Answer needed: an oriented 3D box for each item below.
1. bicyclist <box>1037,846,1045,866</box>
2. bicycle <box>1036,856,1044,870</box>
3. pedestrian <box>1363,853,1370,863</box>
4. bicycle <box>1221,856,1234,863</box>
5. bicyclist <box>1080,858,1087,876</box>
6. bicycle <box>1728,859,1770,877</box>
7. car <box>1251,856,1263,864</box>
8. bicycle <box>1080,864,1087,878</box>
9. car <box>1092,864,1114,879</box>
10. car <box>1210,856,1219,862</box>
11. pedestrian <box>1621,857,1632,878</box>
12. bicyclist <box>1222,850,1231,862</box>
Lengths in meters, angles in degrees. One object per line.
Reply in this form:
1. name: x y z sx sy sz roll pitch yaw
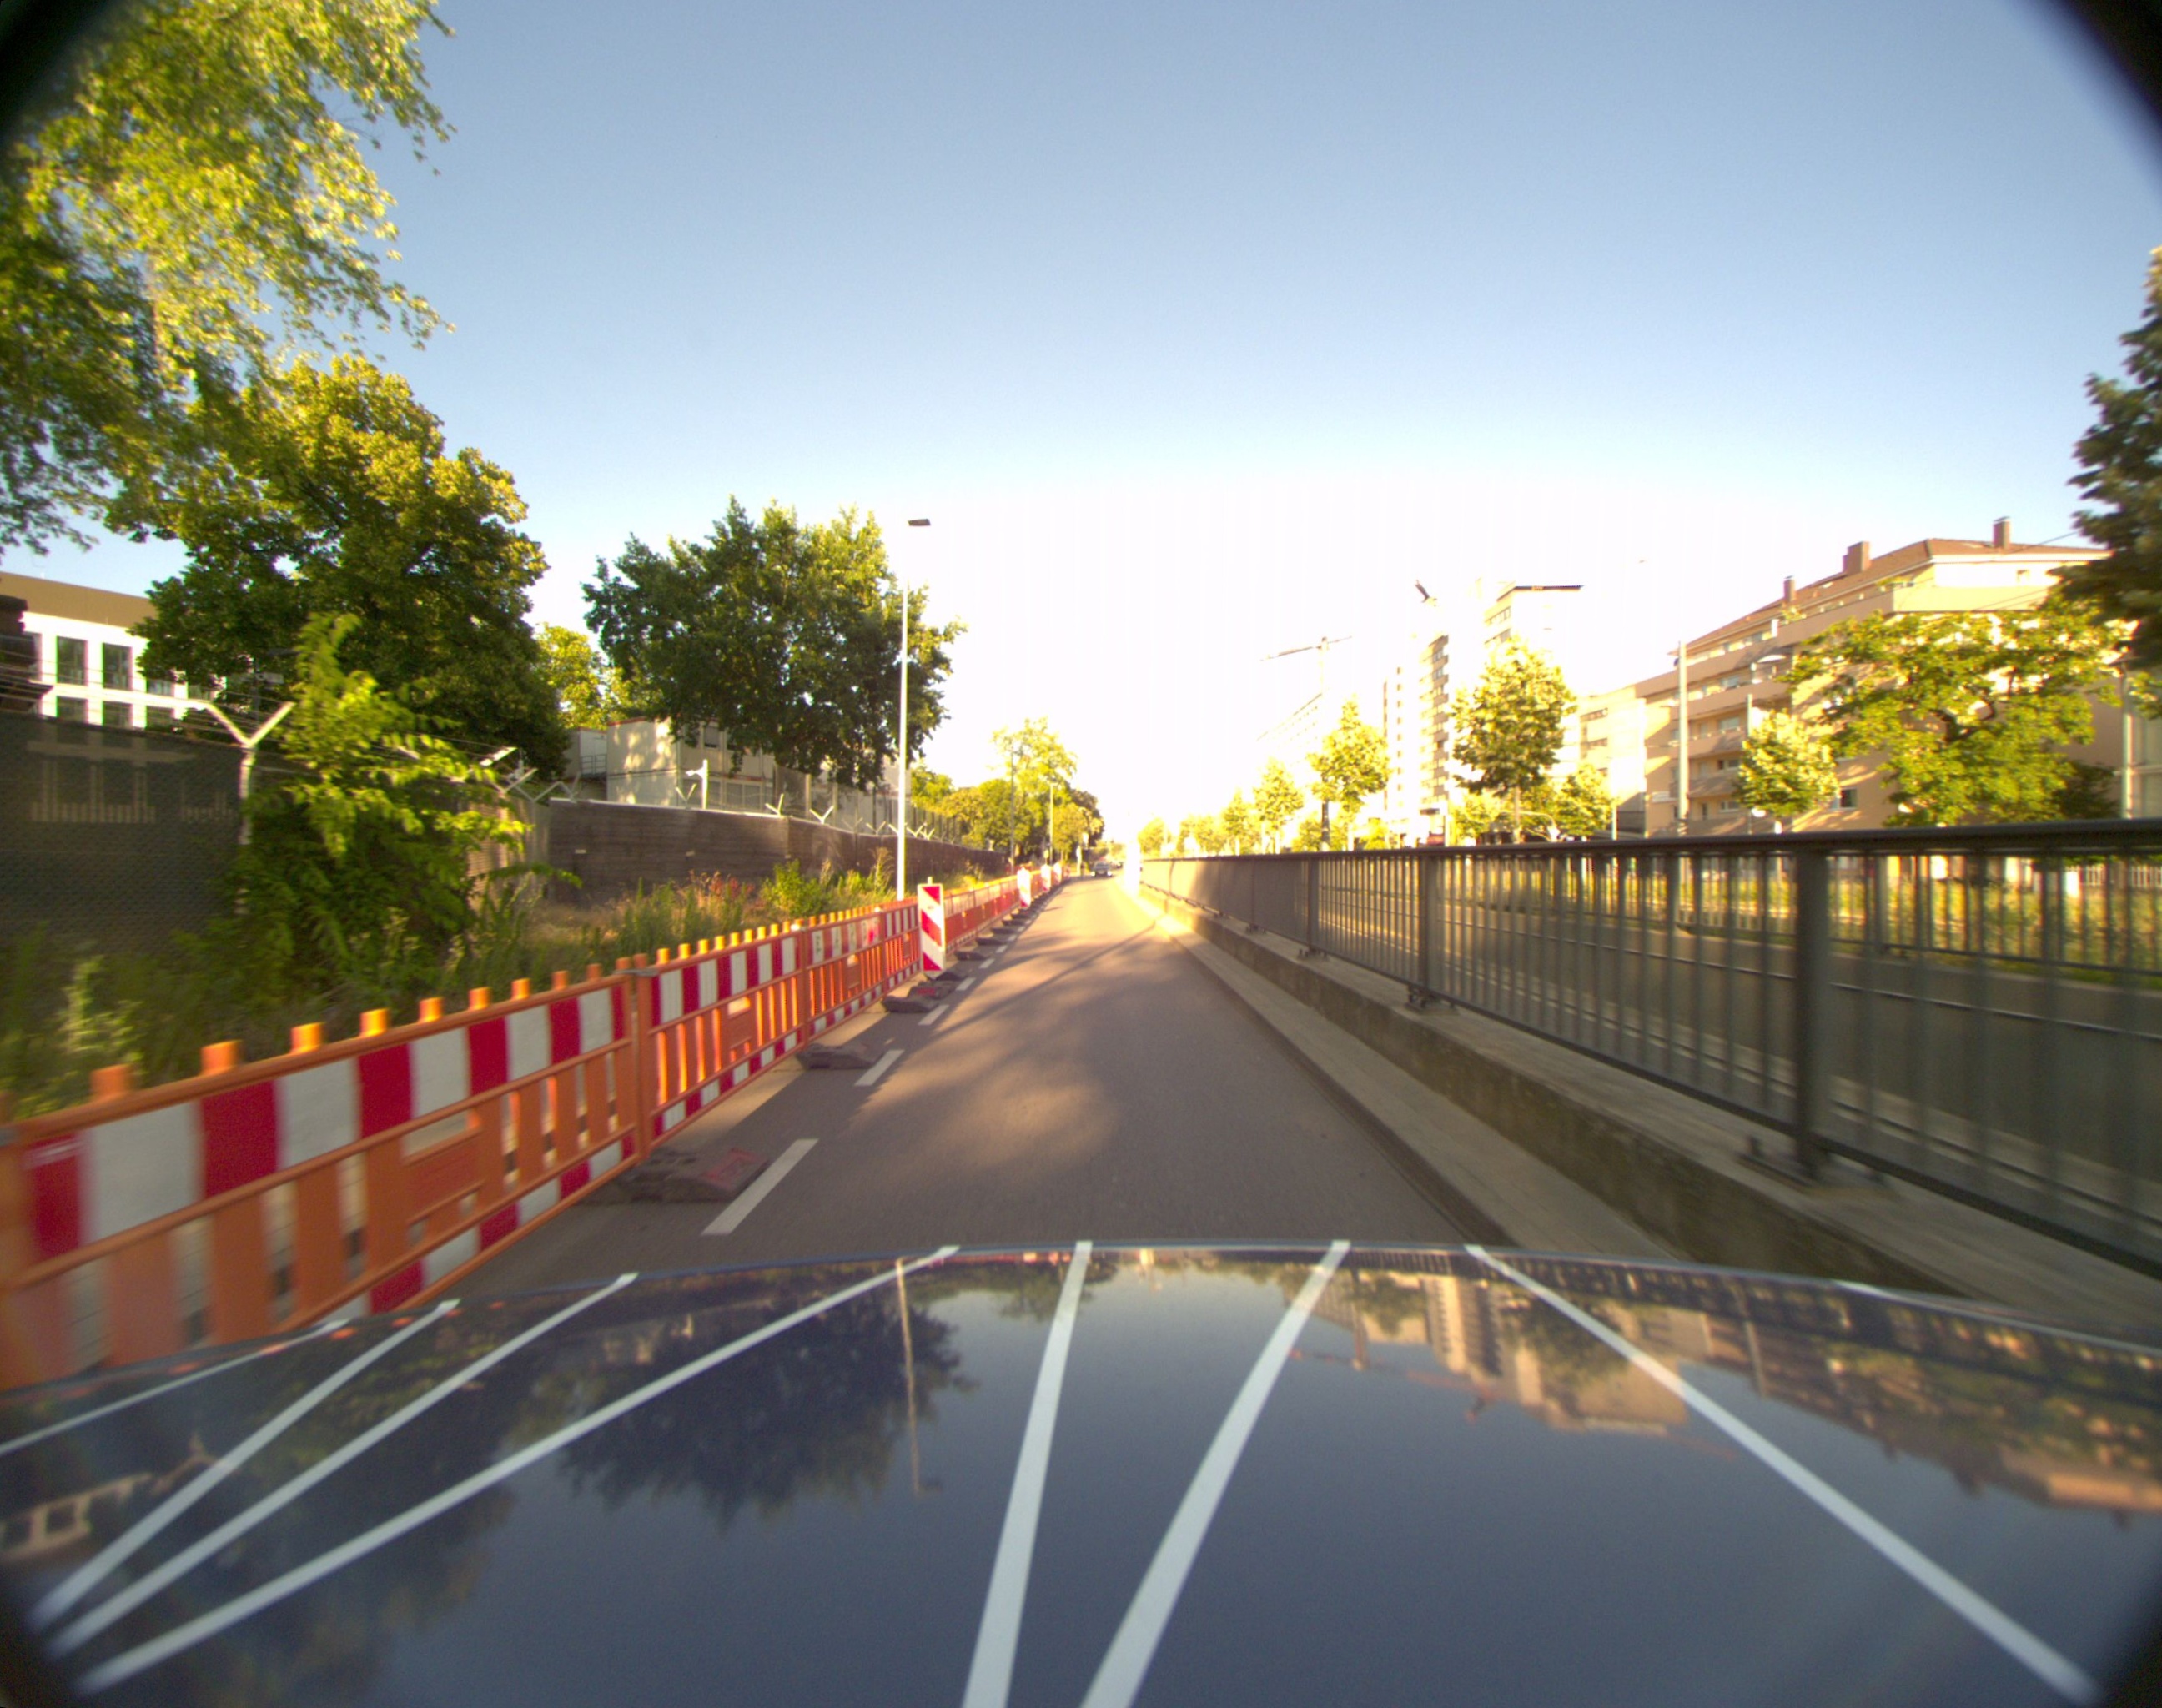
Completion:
1. bicyclist: -3.193 0.167 60.599 0.585 1.605 0.903 0 0 2
2. bicycle: -3.250 0.721 60.475 0.428 1.055 1.911 0 0 2
3. pedestrian: 43.984 0.592 116.893 0.776 1.630 0.882 0 0 1
4. bicycle: 16.835 0.630 87.269 0.507 0.886 2.027 -1 0 -22
5. bicyclist: 0.178 1.047 59.696 0.516 1.398 0.805 0 0 1
6. bicycle: 43.894 0.894 49.985 0.532 1.130 2.586 0 0 2
7. car: 38.074 1.295 164.445 1.874 1.457 3.390 -2 0 2
8. bicycle: 0.167 1.342 59.691 0.506 1.018 1.505 0 0 2
9. car: 2.178 1.640 72.951 1.998 1.346 4.001 0 0 3
10. car: 35.223 1.337 200.312 1.780 1.455 4.662 -1 0 1
11. pedestrian: 41.956 1.027 58.416 0.448 1.546 0.521 0 0 1
12. bicyclist: 16.731 0.272 87.151 0.737 1.386 0.715 -1 0 -23
